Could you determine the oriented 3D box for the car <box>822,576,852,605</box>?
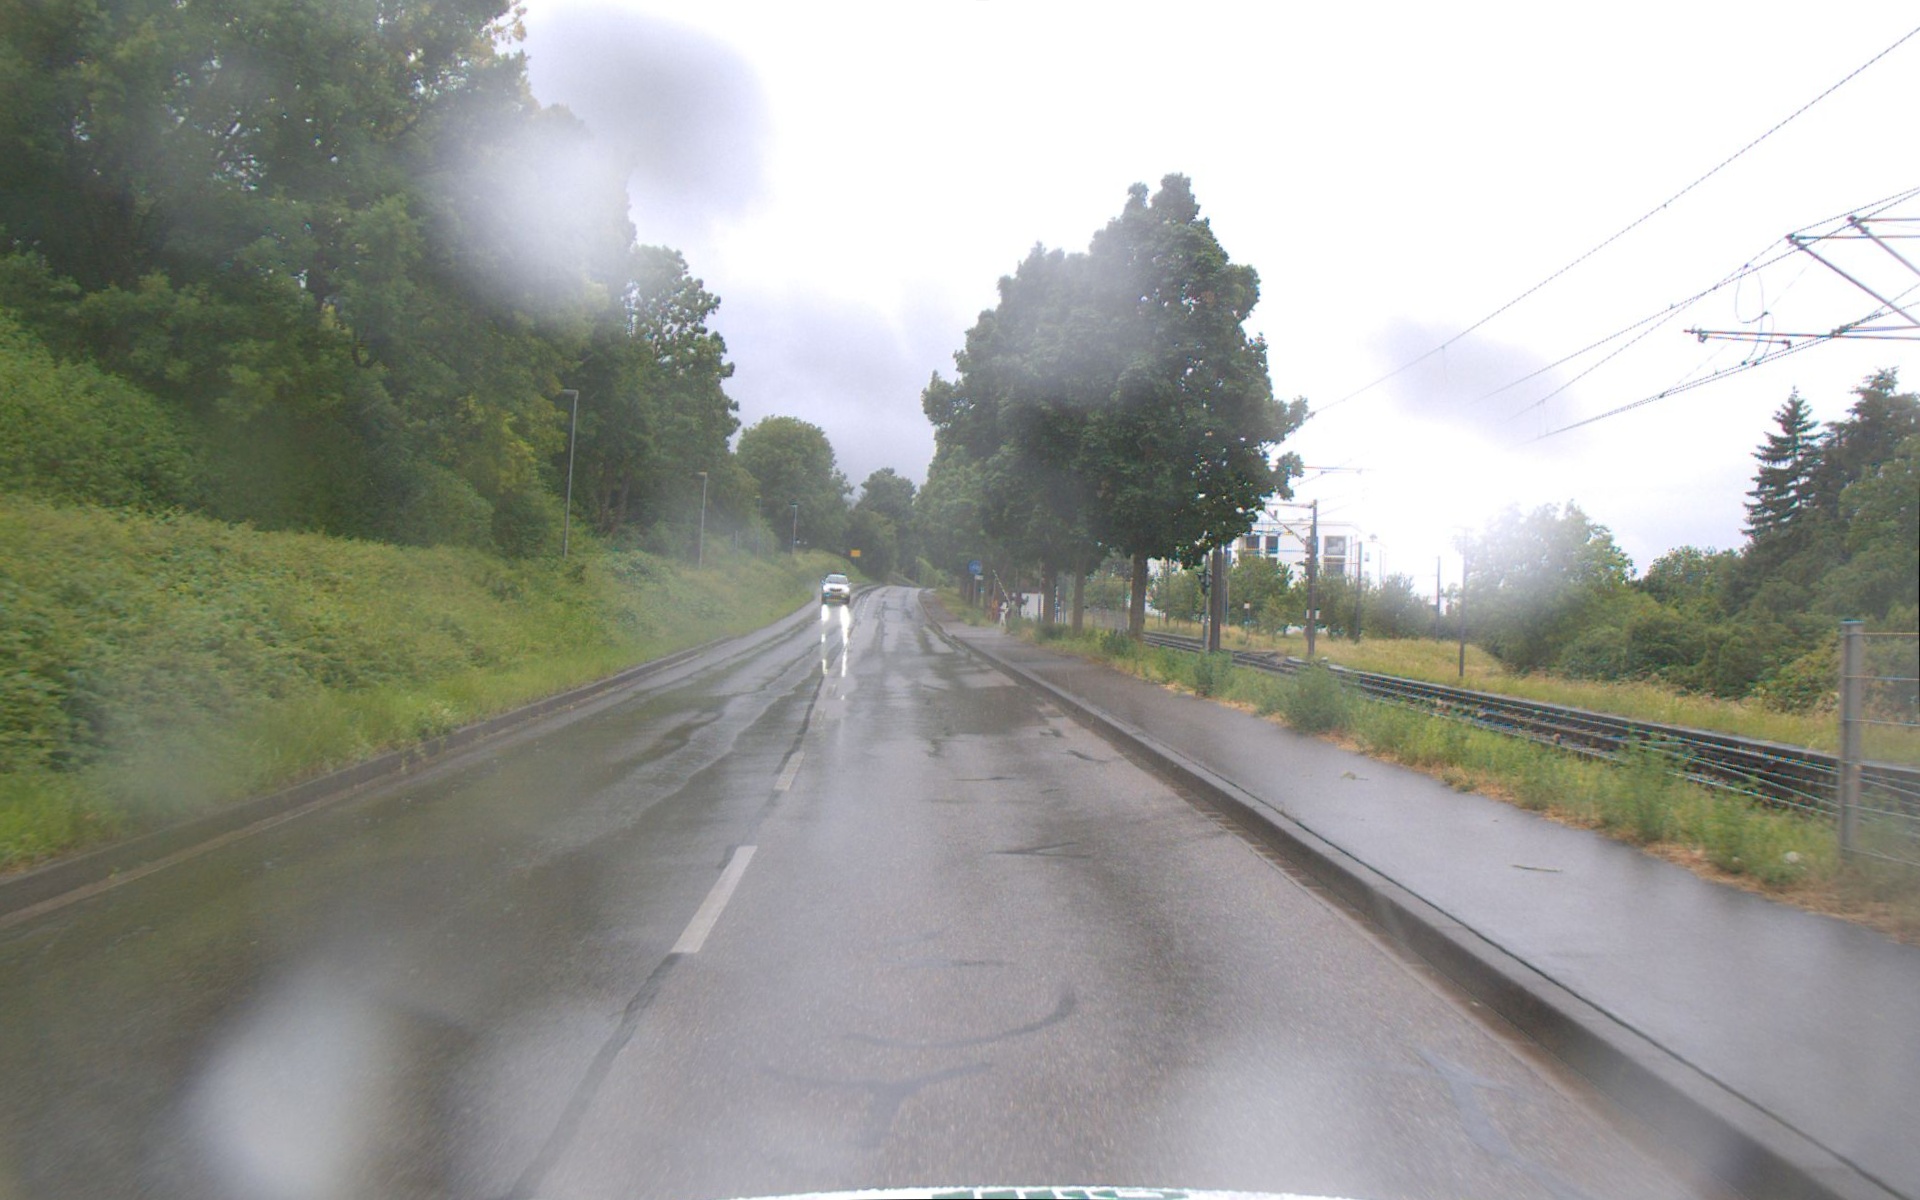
[{"bbox_3d":[-7.717,-0.617,103.922,1.711,1.640,4.083,2,1,-6],"label":"car"}]
